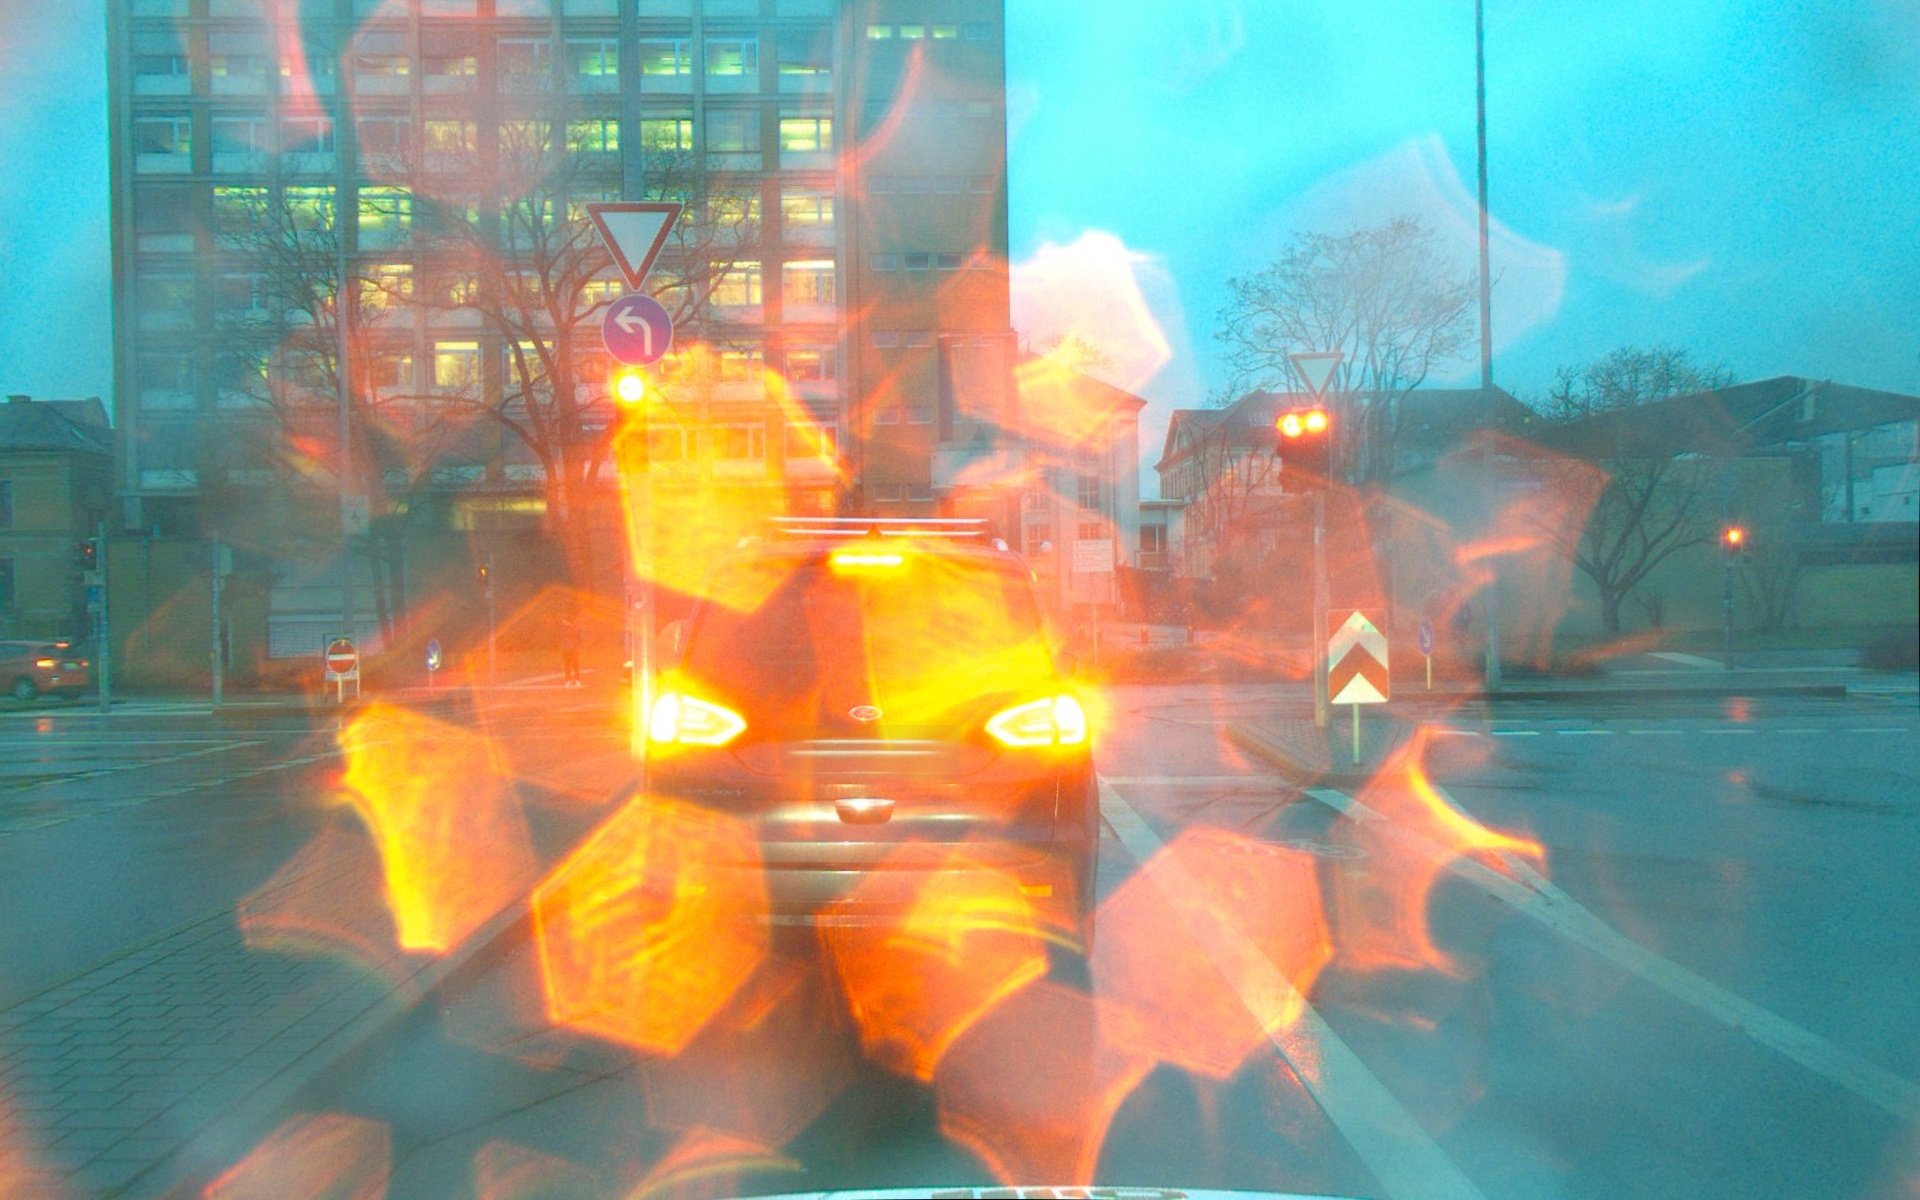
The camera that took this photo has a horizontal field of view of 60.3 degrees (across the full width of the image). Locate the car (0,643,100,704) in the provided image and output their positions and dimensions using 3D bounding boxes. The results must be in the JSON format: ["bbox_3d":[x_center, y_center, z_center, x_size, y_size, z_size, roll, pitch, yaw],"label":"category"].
[{"bbox_3d":[-22.977,1.759,39.940,3.708,1.423,1.566,0,-2,11],"label":"car"}]

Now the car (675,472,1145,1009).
[{"bbox_3d":[-0.200,0.475,7.721,1.613,1.850,3.999,0,0,-1],"label":"car"}]

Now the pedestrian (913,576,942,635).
[{"bbox_3d":[-0.932,0.164,47.882,0.673,1.690,0.674,1,-2,-18],"label":"pedestrian"}]

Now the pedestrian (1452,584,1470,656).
[{"bbox_3d":[13.095,0.532,43.229,0.428,1.871,0.460,0,-2,18],"label":"pedestrian"}]

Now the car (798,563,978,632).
[{"bbox_3d":[-2.221,-0.065,51.992,5.429,2.060,2.001,0,-2,5],"label":"car"}]

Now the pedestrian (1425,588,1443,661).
[{"bbox_3d":[12.348,0.645,43.094,0.428,1.871,0.460,0,-2,17],"label":"pedestrian"}]

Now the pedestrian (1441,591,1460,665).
[{"bbox_3d":[12.514,0.710,42.200,0.448,1.871,0.439,0,-2,16],"label":"pedestrian"}]
